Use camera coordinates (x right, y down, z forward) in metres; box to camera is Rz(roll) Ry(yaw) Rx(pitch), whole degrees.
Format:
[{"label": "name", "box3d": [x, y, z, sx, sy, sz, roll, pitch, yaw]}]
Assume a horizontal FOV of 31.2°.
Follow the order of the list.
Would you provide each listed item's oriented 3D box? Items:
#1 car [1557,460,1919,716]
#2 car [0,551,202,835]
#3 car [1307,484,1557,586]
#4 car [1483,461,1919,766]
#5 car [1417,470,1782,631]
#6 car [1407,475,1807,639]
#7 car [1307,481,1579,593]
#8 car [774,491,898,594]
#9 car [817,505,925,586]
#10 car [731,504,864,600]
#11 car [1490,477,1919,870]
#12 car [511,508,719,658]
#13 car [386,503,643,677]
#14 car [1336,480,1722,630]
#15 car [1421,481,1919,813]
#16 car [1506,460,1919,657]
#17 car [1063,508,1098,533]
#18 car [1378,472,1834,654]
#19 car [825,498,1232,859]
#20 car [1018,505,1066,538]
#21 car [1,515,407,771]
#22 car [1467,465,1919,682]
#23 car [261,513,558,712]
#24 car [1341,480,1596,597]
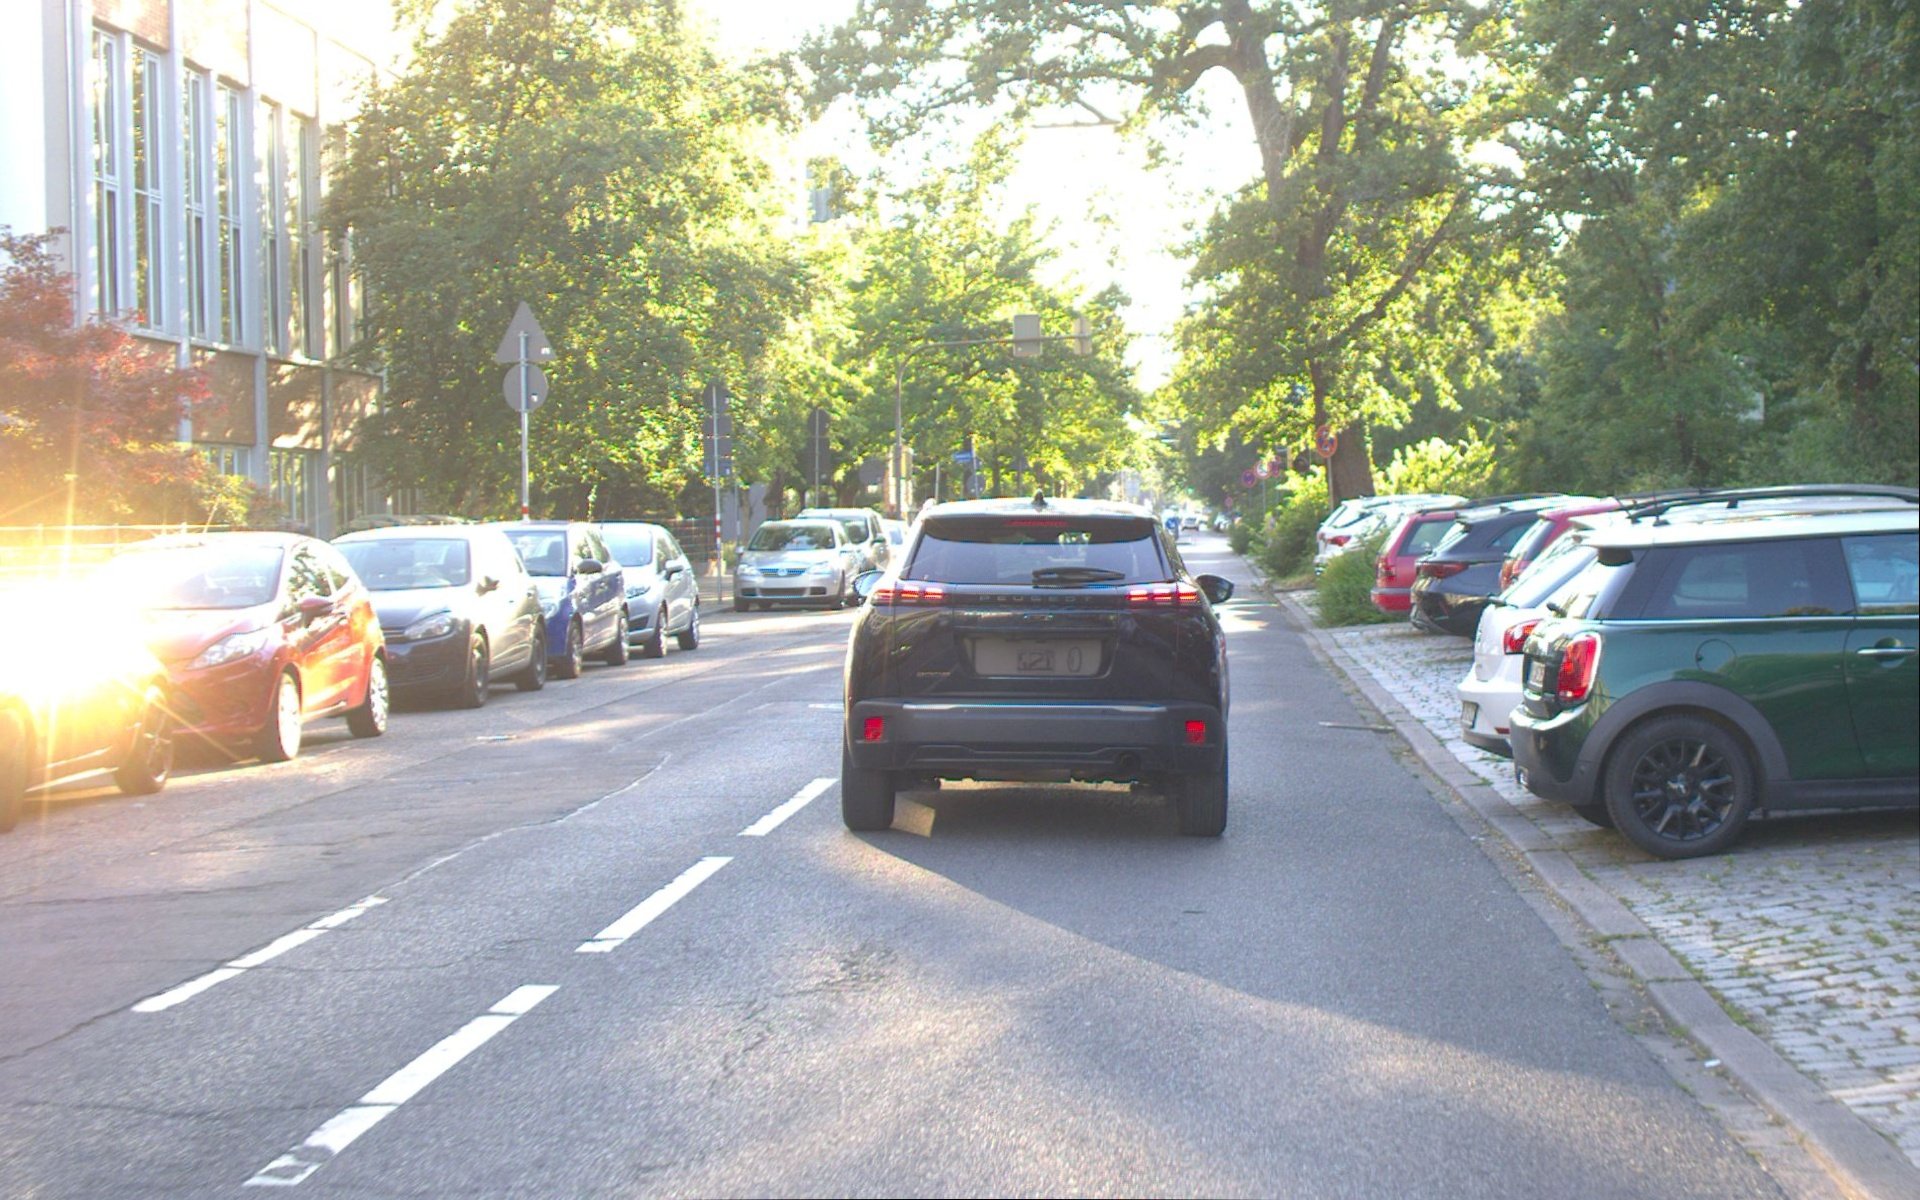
[{"label": "car", "box3d": [5.983, -0.147, 22.829, 3.725, 1.493, 1.820, -4, 1, 5]}, {"label": "car", "box3d": [-5.295, 0.450, 18.126, 1.556, 1.275, 3.733, -2, 2, 3]}, {"label": "car", "box3d": [8.093, -1.117, 58.983, 4.171, 1.704, 1.867, 0, 2, 8]}, {"label": "car", "box3d": [5.070, 0.008, 20.236, 3.666, 1.547, 1.735, -4, 2, 2]}, {"label": "car", "box3d": [7.170, -0.569, 38.802, 3.712, 1.550, 1.742, -4, 1, 1]}, {"label": "car", "box3d": [6.763, -0.460, 36.263, 3.925, 1.449, 1.831, -3, 1, 6]}, {"label": "car", "box3d": [7.590, -1.000, 54.271, 4.123, 1.661, 1.723, -1, 1, 4]}, {"label": "car", "box3d": [-2.179, -1.058, 61.535, 1.679, 1.702, 4.340, -2, 2, 5]}, {"label": "car", "box3d": [-1.730, -1.097, 67.878, 1.679, 1.452, 3.881, -2, 2, 5]}, {"label": "car", "box3d": [-2.608, -0.810, 55.981, 1.671, 1.488, 4.061, 0, 2, 5]}, {"label": "car", "box3d": [4.305, 0.225, 15.227, 3.610, 1.520, 1.671, -4, 2, 2]}, {"label": "car", "box3d": [-3.788, -0.232, 38.299, 1.601, 1.488, 3.772, -2, 2, 5]}, {"label": "car", "box3d": [-4.277, -0.141, 33.507, 1.599, 1.502, 3.786, -2, 2, 6]}, {"label": "car", "box3d": [6.729, -0.548, 40.998, 4.338, 1.470, 1.742, -3, 2, 5]}, {"label": "car", "box3d": [4.328, 0.167, 17.603, 3.666, 1.440, 1.735, -4, 2, 2]}, {"label": "car", "box3d": [6.909, -0.383, 30.628, 3.808, 1.469, 1.831, -4, 1, 5]}, {"label": "car", "box3d": [6.820, -4.488, 194.661, 1.810, 1.349, 4.000, -1, 2, 0]}, {"label": "car", "box3d": [6.197, -0.370, 33.357, 4.121, 1.469, 1.831, -3, 1, 6]}, {"label": "car", "box3d": [0.397, 0.290, 16.612, 1.768, 1.563, 3.380, 0, 2, 4]}, {"label": "car", "box3d": [3.439, -3.312, 144.622, 1.810, 1.349, 4.001, -1, 2, -1]}, {"label": "car", "box3d": [-4.886, 0.216, 22.735, 1.598, 1.450, 3.862, -2, 2, 3]}, {"label": "car", "box3d": [6.135, -0.235, 27.857, 3.808, 1.469, 1.756, -4, 1, 5]}, {"label": "car", "box3d": [-4.540, 0.049, 28.897, 1.598, 1.450, 4.055, -2, 2, 3]}, {"label": "car", "box3d": [7.621, -0.917, 51.783, 3.589, 1.561, 1.818, -3, 0, 3]}]
